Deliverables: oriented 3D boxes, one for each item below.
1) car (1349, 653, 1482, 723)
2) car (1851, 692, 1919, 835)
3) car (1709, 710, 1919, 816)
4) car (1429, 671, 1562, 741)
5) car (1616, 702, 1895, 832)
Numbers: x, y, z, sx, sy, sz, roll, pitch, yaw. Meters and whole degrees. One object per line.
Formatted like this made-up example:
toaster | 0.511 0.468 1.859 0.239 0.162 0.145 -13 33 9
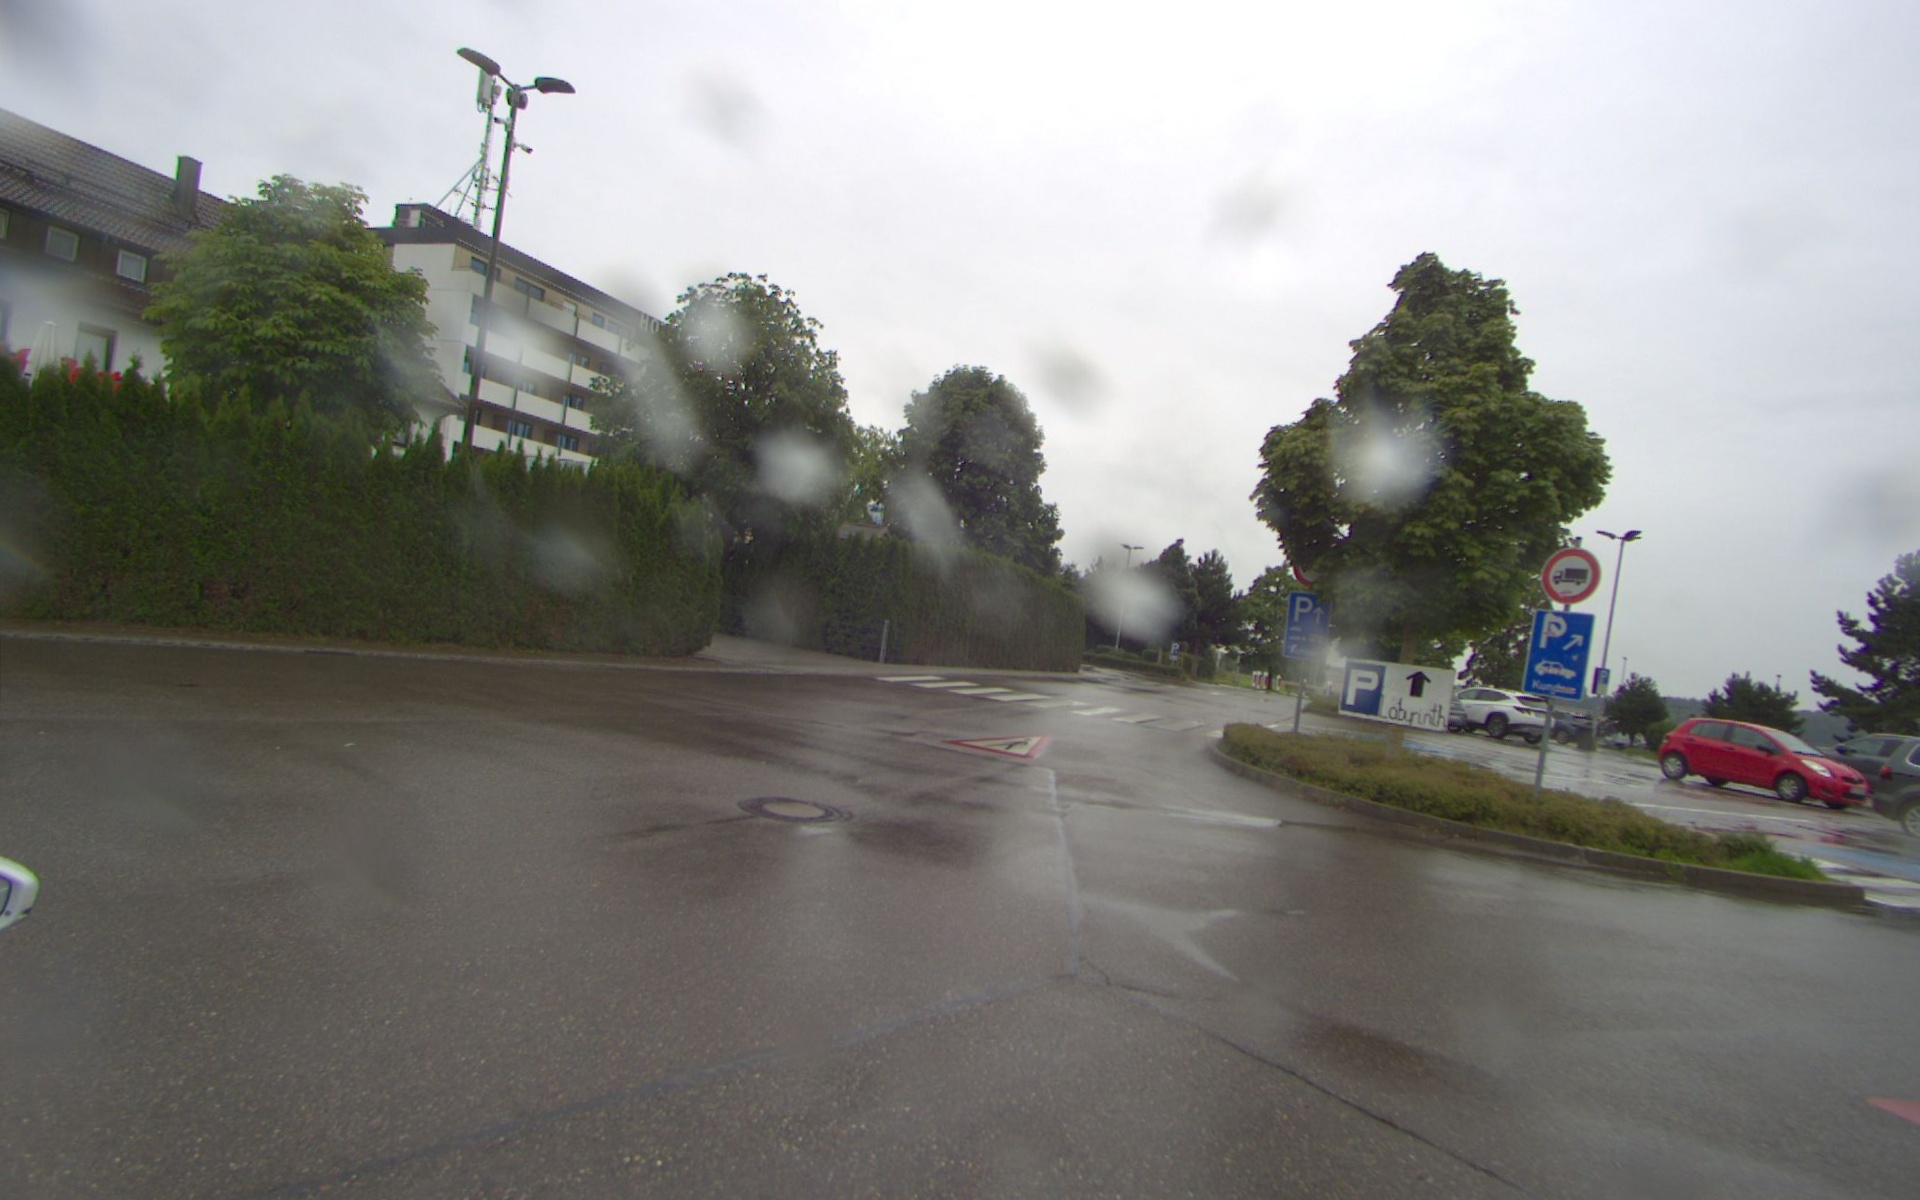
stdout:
car | 15.321 2.932 34.066 1.772 1.714 4.035 7 0 -15
car | 16.950 2.876 15.163 1.970 2.216 4.750 7 0 -17
car | 22.128 4.105 25.668 1.898 1.800 4.380 7 0 -20
car | 18.266 3.571 34.527 1.685 1.714 4.038 7 0 -12
car | 17.525 3.616 22.475 1.898 1.909 4.380 7 0 -20
